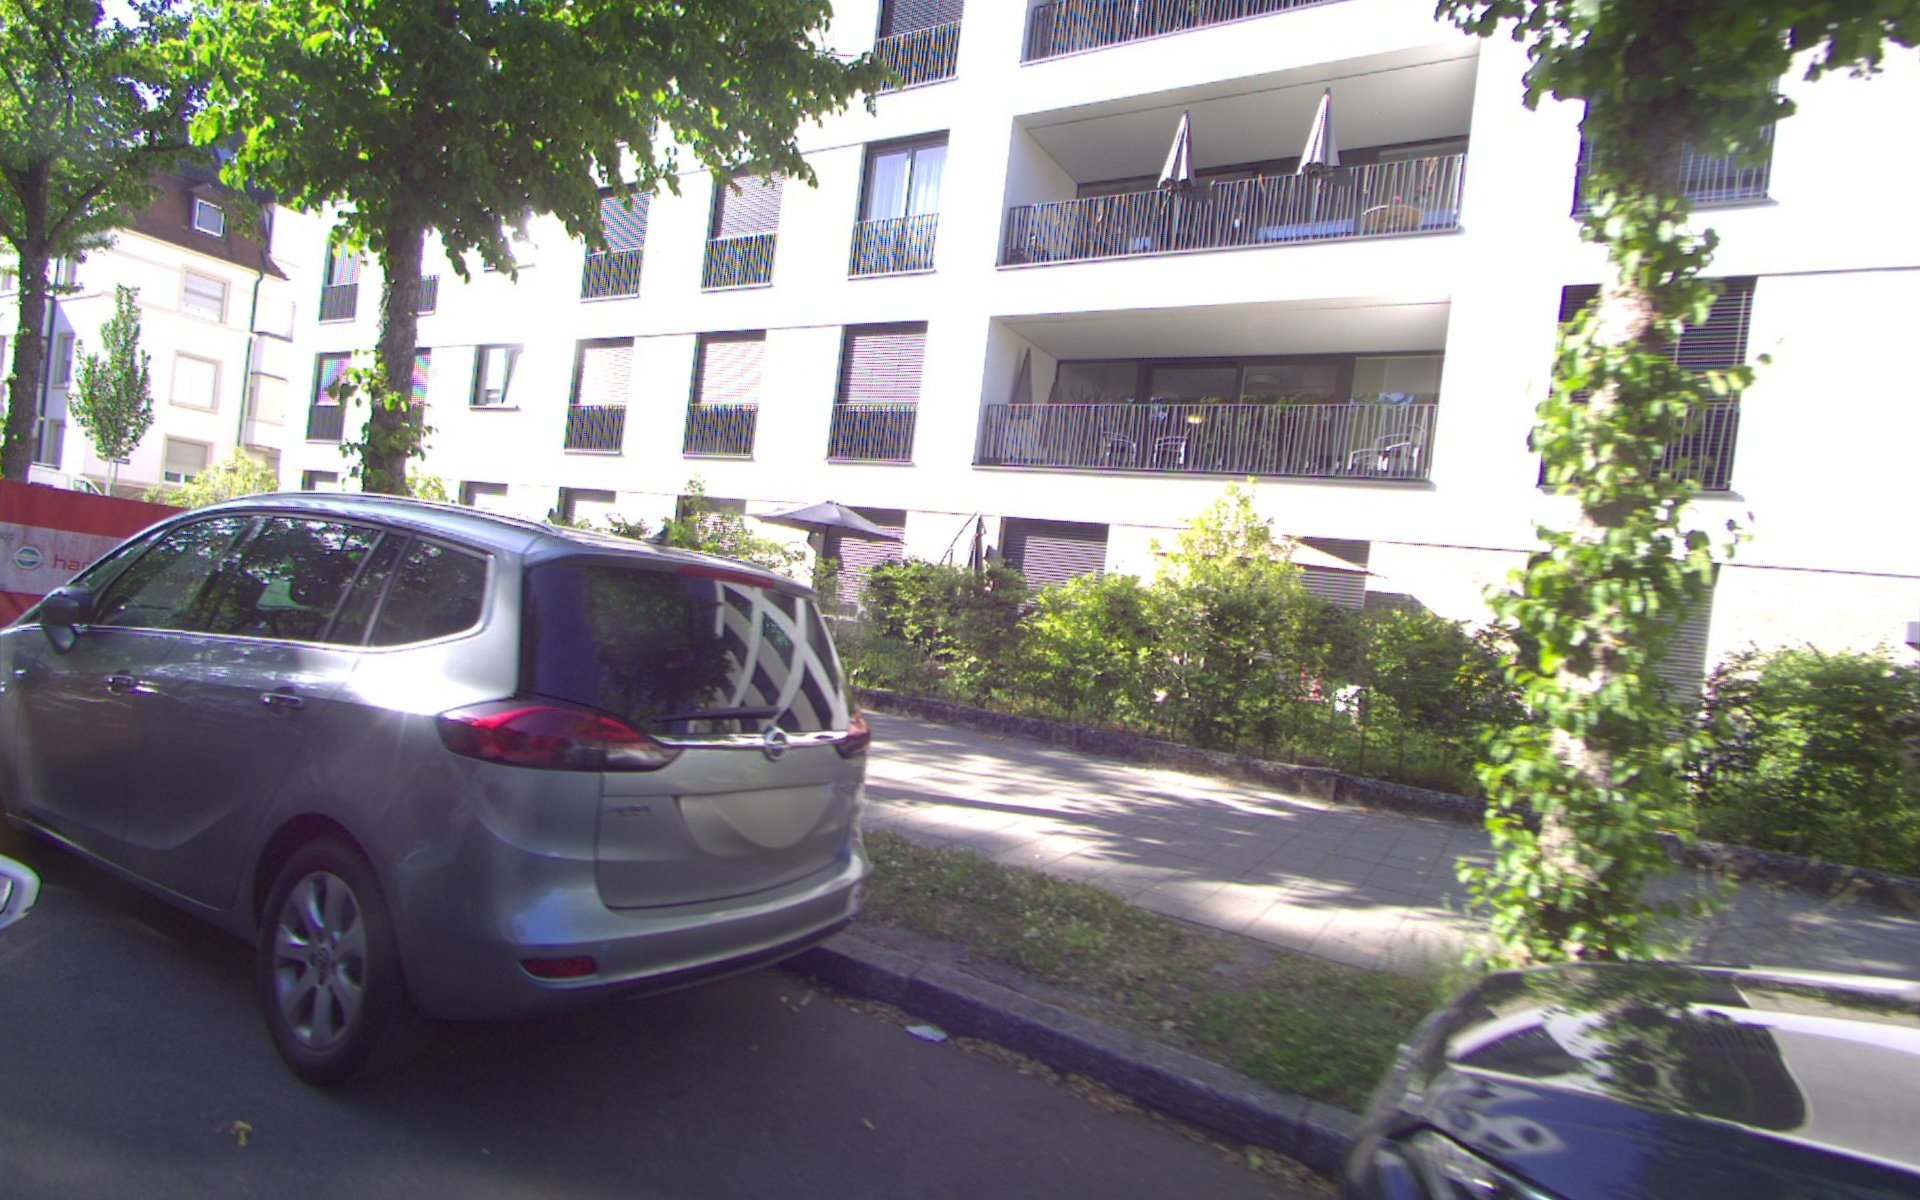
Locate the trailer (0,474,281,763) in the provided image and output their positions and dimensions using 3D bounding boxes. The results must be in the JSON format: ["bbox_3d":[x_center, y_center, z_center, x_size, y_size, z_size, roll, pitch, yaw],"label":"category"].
[{"bbox_3d":[-6.339,0.017,6.875,3.140,1.597,1.577,7,-2,33],"label":"trailer"}]

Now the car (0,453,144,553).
[{"bbox_3d":[-25.800,-2.727,27.551,2.192,2.334,5.058,7,0,8],"label":"car"}]

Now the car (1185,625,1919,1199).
[{"bbox_3d":[2.559,1.082,1.005,4.273,1.535,1.720,7,0,32],"label":"car"}]

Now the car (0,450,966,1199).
[{"bbox_3d":[-2.547,0.429,4.232,4.738,1.662,1.796,7,-2,31],"label":"car"}]
